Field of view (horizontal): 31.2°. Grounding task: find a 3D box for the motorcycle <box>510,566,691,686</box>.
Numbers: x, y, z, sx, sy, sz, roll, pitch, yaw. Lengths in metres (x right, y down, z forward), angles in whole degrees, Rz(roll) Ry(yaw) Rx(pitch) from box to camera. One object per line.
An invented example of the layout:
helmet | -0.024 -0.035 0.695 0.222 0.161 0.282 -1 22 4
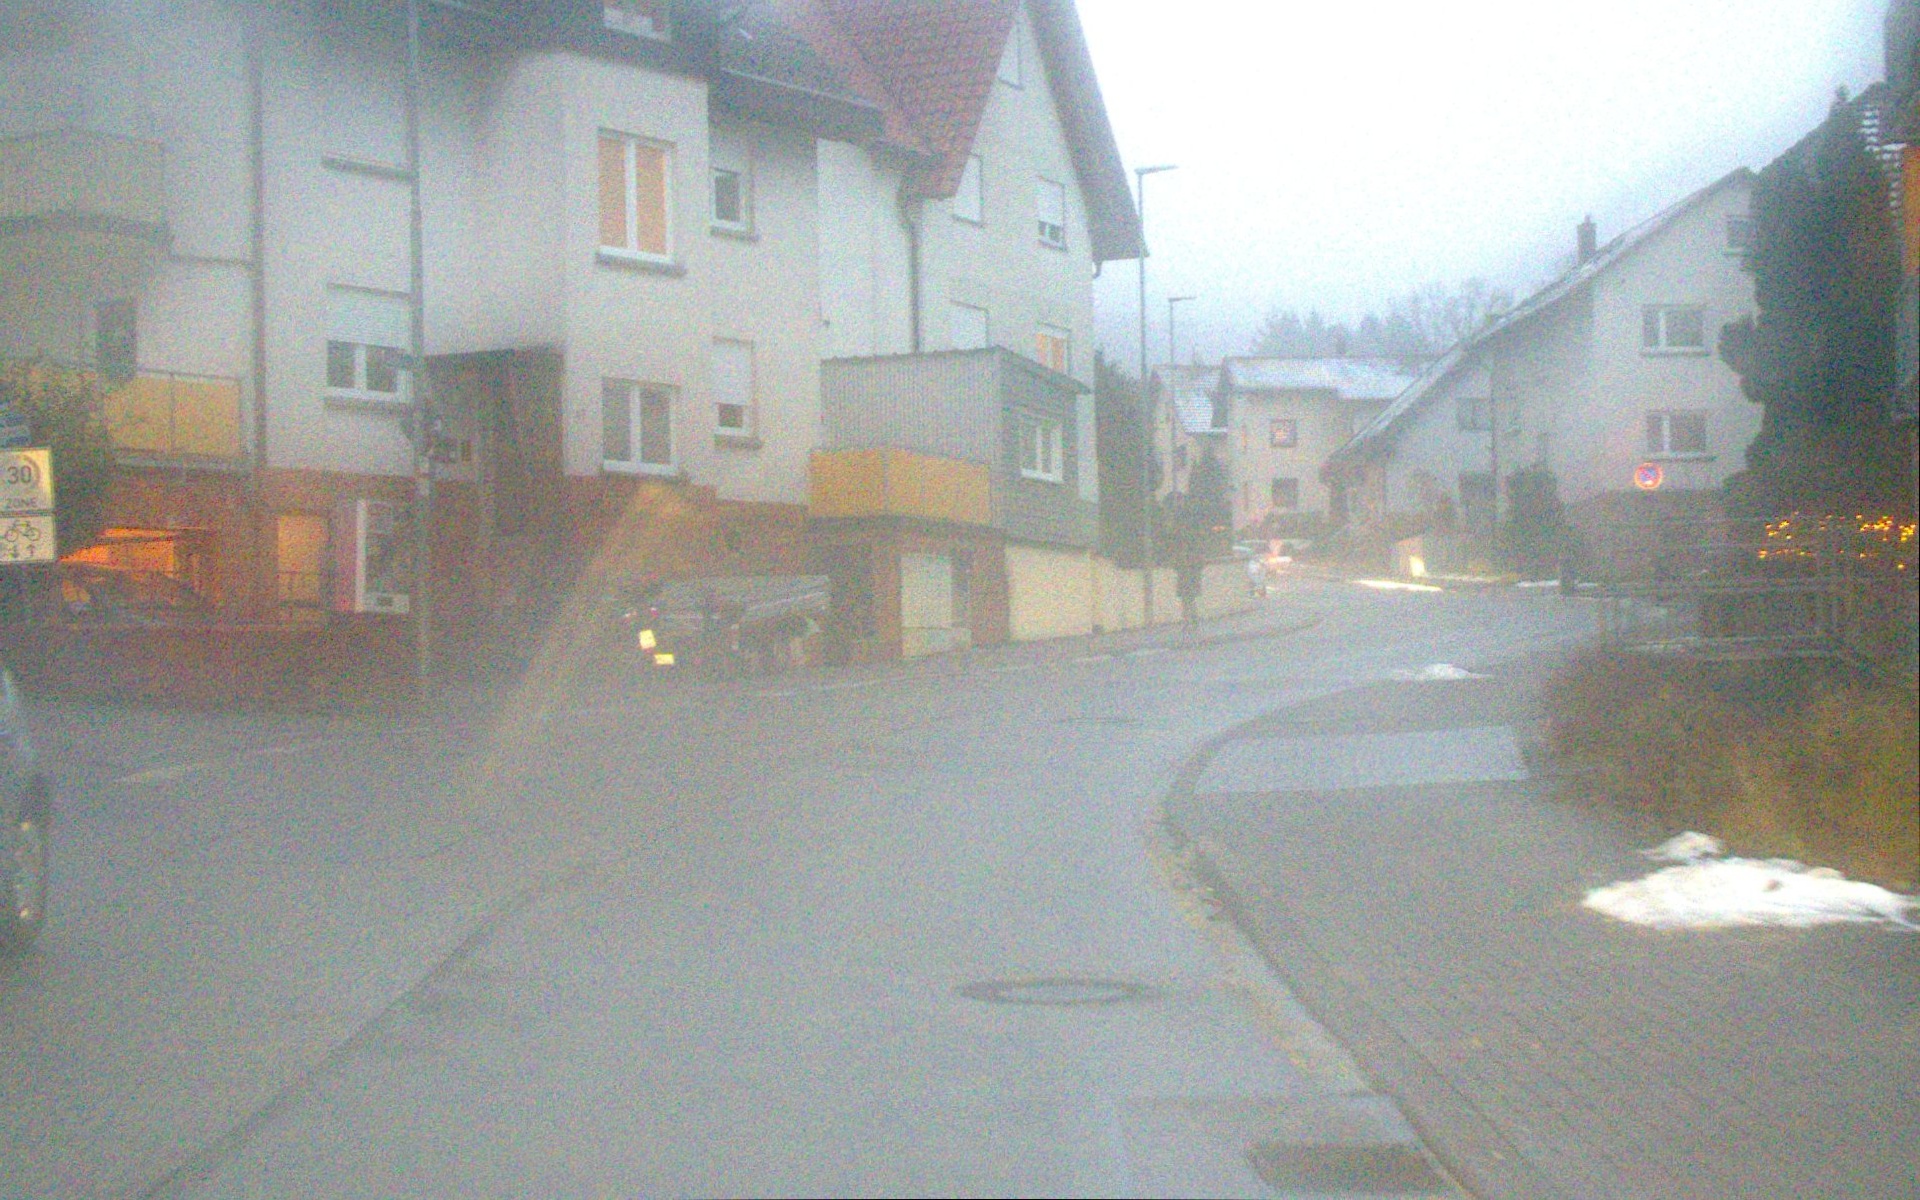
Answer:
motorcycle | -4.101 0.275 39.051 1.054 1.294 2.238 -1 1 -36

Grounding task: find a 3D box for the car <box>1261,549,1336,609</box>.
car | 12.446 -0.784 126.166 2.111 2.020 4.980 -2 1 12

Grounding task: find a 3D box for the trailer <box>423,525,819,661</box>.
trailer | -4.017 -0.034 41.606 2.062 1.165 4.857 -2 -6 35

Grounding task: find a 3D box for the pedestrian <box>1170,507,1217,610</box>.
pedestrian | 3.970 -0.700 58.407 0.598 1.727 0.811 0 0 19

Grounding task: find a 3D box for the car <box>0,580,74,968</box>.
car | -4.319 0.655 11.427 1.748 1.384 4.147 0 1 -1
